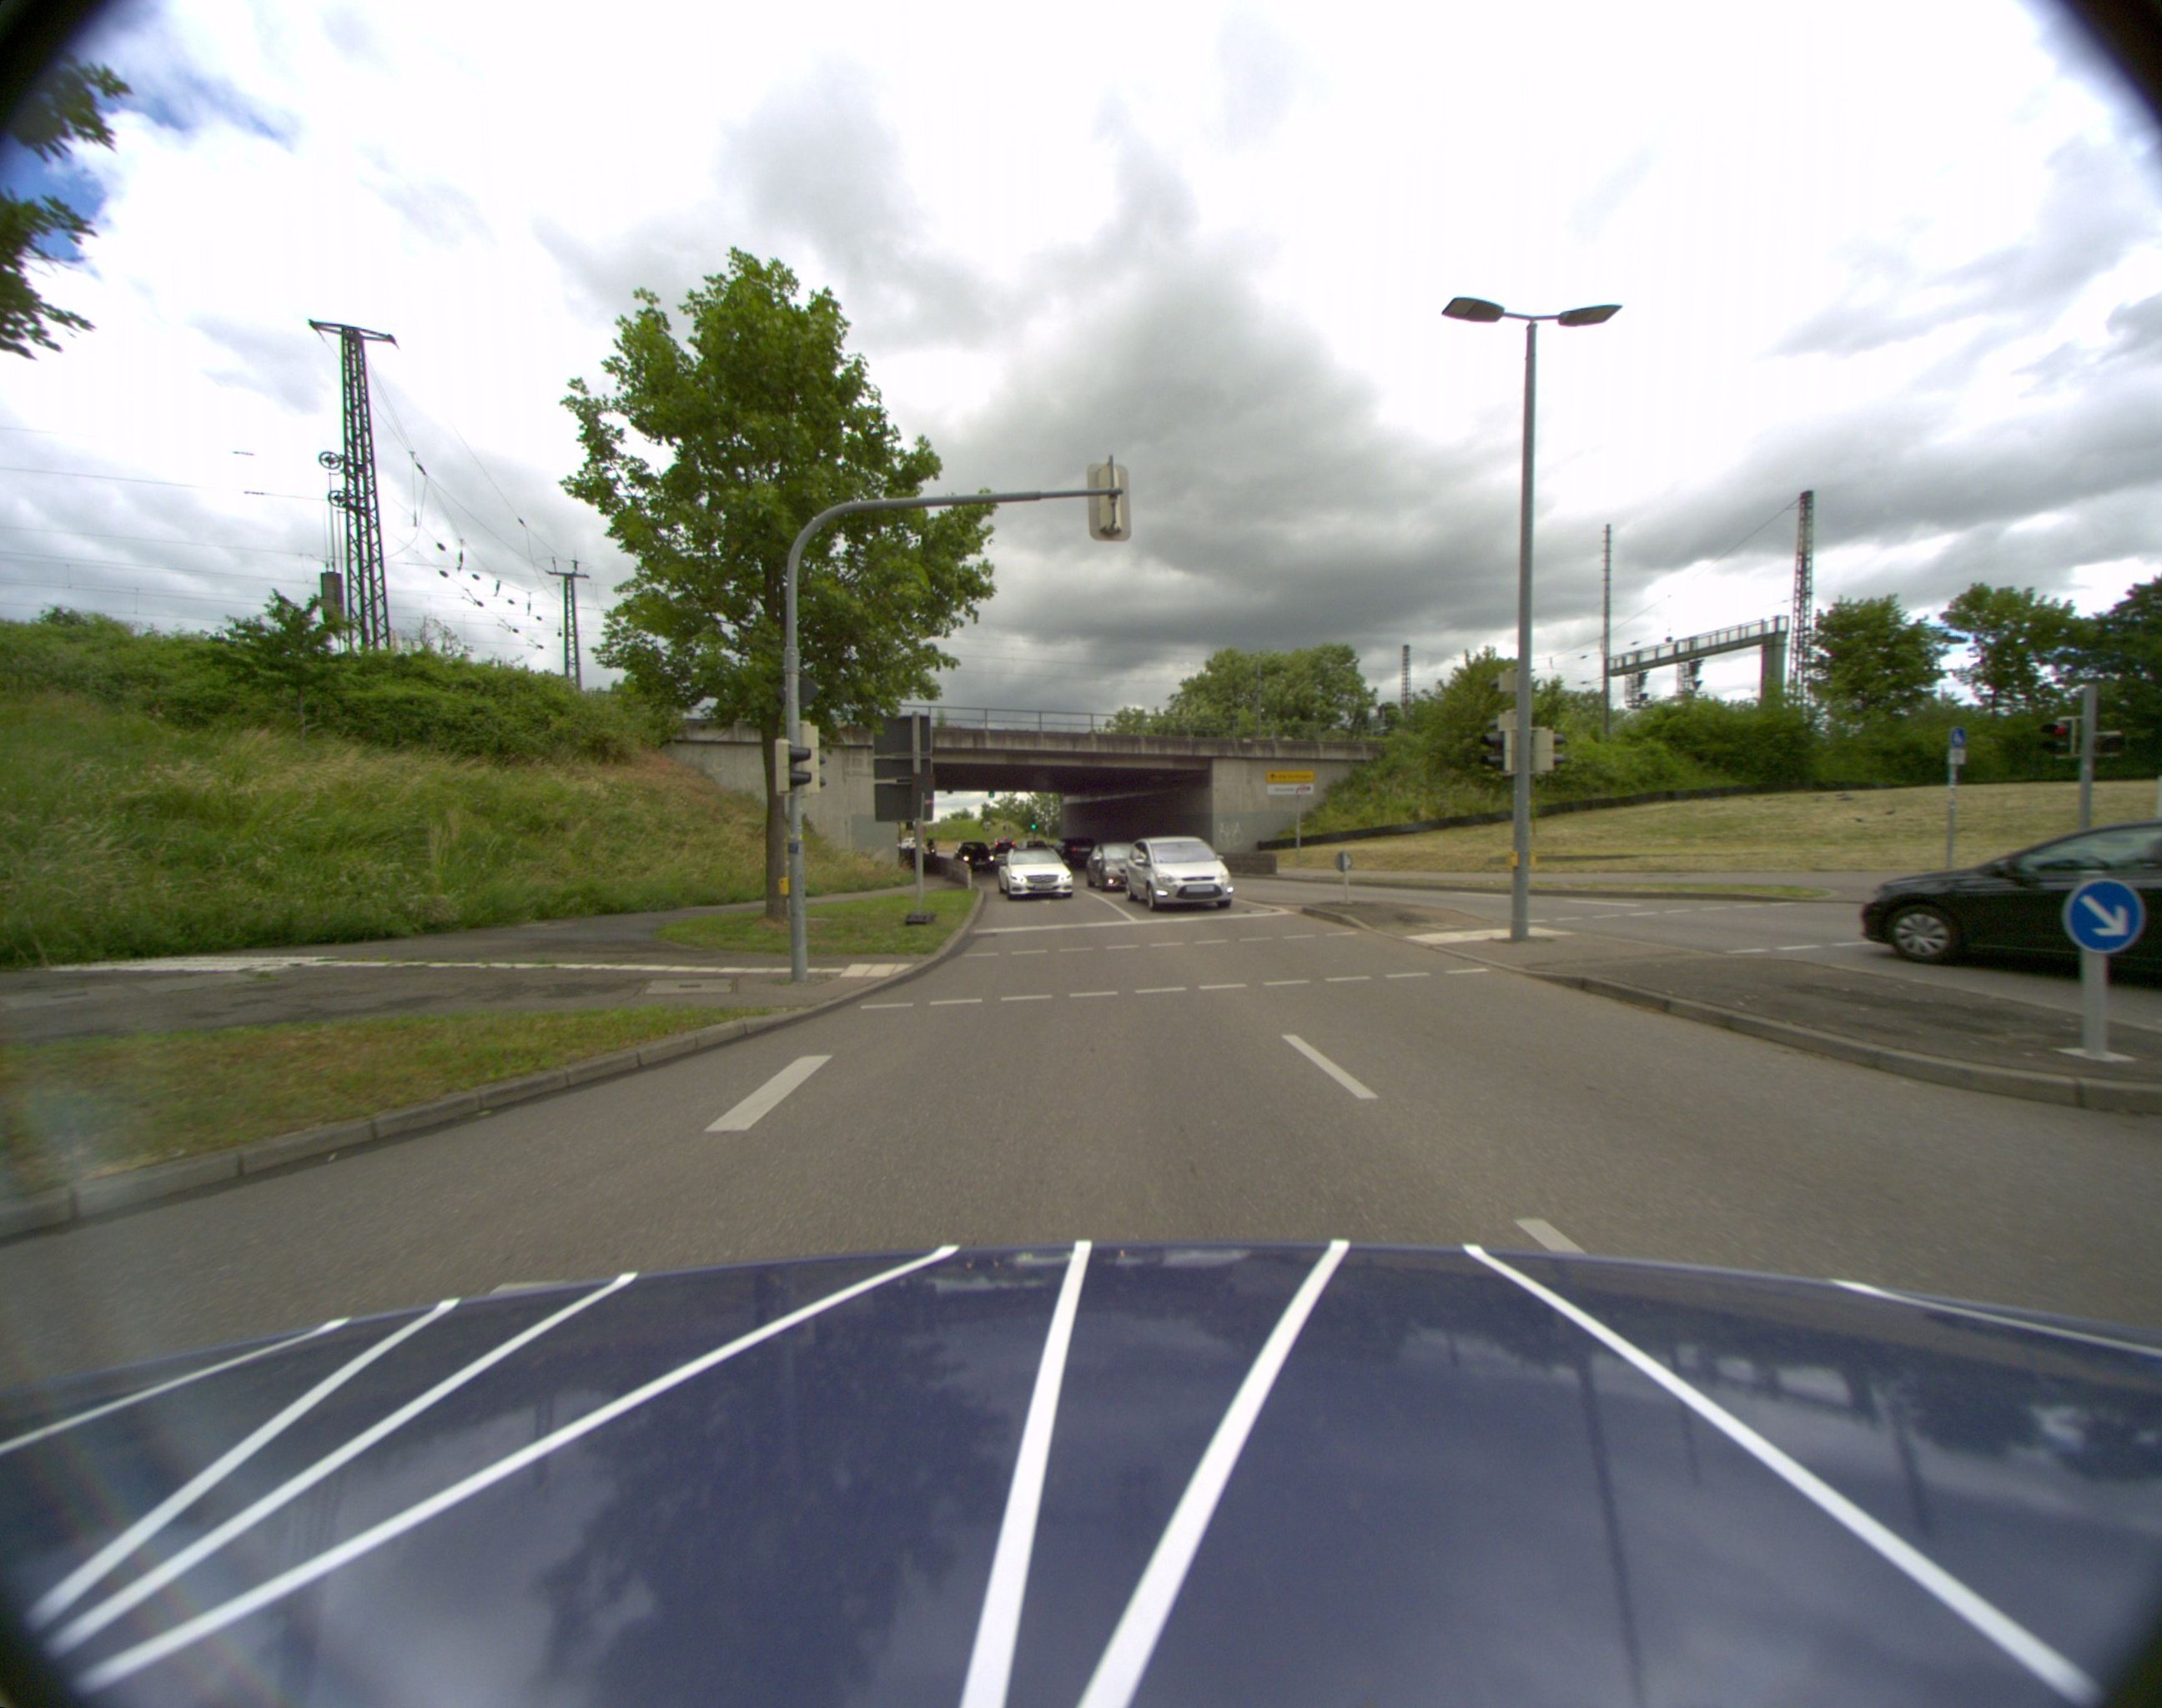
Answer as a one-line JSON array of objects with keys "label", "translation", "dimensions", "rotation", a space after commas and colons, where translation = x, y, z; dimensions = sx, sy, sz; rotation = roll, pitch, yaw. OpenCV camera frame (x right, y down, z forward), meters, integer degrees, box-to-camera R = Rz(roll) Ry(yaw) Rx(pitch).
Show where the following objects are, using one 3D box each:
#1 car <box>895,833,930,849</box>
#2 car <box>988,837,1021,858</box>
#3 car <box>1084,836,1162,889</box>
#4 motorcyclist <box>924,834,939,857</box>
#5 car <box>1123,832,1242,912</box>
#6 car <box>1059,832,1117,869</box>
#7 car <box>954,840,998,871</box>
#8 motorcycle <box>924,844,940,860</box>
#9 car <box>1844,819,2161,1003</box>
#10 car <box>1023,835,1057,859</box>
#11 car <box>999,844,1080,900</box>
[{"label": "car", "translation": [-19.648, -1.531, 88.501], "dimensions": [3.877, 1.659, 1.763], "rotation": [-1, 2, 38]}, {"label": "car", "translation": [-6.268, -0.523, 61.938], "dimensions": [1.761, 1.610, 4.364], "rotation": [-3, 1, -17]}, {"label": "car", "translation": [1.291, 0.228, 25.088], "dimensions": [1.760, 1.525, 4.251], "rotation": [-3, 1, -7]}, {"label": "motorcyclist", "translation": [-10.853, -0.599, 55.236], "dimensions": [0.884, 1.596, 1.242], "rotation": [-3, 1, -17]}, {"label": "car", "translation": [2.276, 0.344, 18.309], "dimensions": [1.831, 1.629, 4.509], "rotation": [-2, 1, -5]}, {"label": "car", "translation": [0.316, -0.204, 39.917], "dimensions": [1.967, 1.781, 3.994], "rotation": [-3, 1, -16]}, {"label": "car", "translation": [-5.836, 0.056, 41.693], "dimensions": [1.761, 1.532, 3.994], "rotation": [-3, 1, -16]}, {"label": "motorcycle", "translation": [-10.901, -0.153, 55.476], "dimensions": [0.884, 1.098, 2.357], "rotation": [-3, 1, -17]}, {"label": "car", "translation": [9.379, 0.424, 6.332], "dimensions": [1.759, 1.446, 4.066], "rotation": [-2, 0, -5]}, {"label": "car", "translation": [-2.840, -0.513, 52.258], "dimensions": [1.760, 1.505, 3.883], "rotation": [-3, 1, -11]}, {"label": "car", "translation": [-1.359, 0.470, 23.009], "dimensions": [1.907, 1.471, 4.090], "rotation": [-3, 1, -10]}]
